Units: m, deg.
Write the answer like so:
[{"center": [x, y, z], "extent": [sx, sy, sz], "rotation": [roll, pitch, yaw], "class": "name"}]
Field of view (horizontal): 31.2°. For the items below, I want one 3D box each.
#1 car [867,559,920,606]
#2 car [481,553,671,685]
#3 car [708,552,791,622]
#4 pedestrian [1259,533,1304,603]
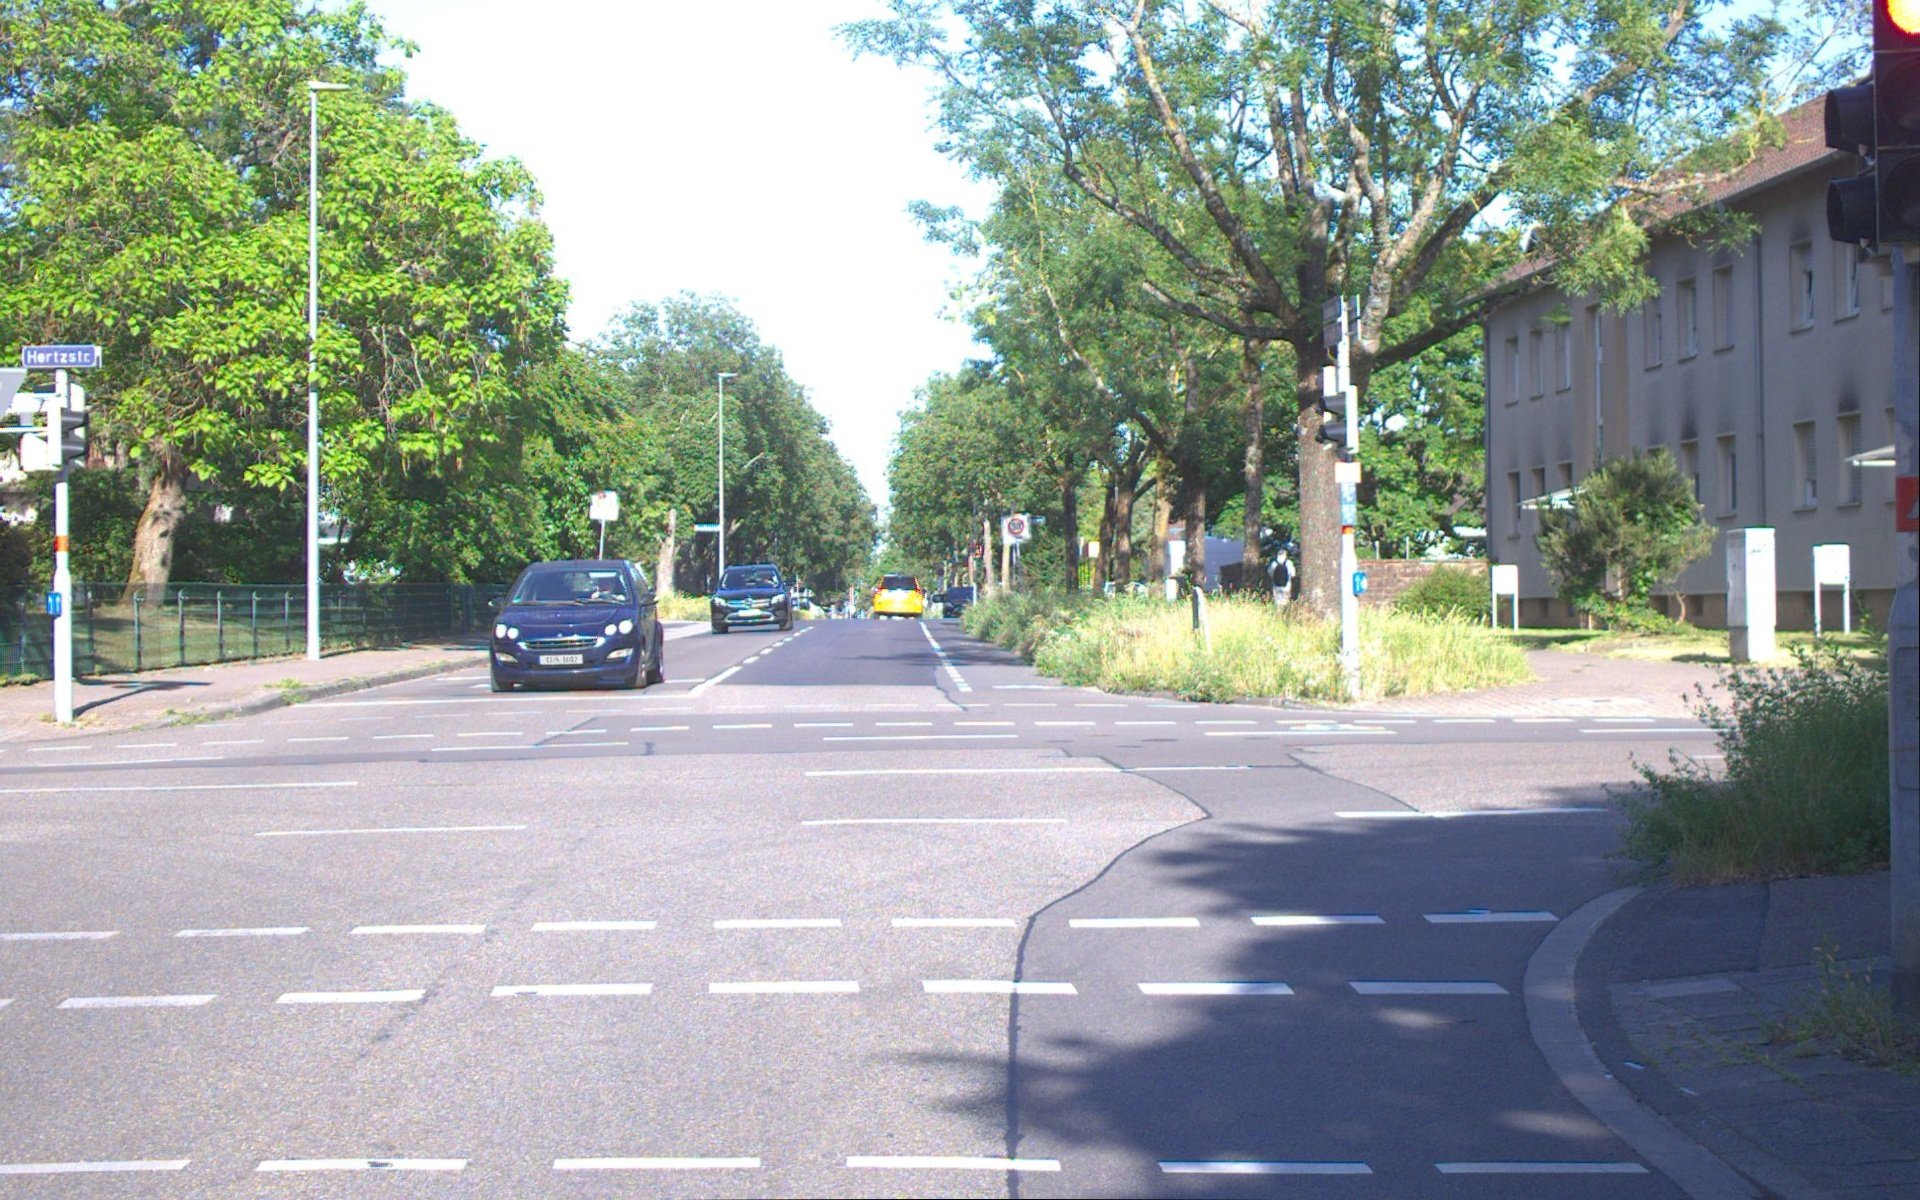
[{"center": [-2.255, -0.598, 117.769], "extent": [1.751, 1.577, 4.000], "rotation": [1, 0, 0], "class": "car"}, {"center": [-4.266, 0.177, 38.623], "extent": [1.711, 1.381, 3.471], "rotation": [0, 1, 0], "class": "car"}, {"center": [-5.046, -0.338, 82.778], "extent": [1.758, 1.619, 3.268], "rotation": [0, 1, 0], "class": "car"}, {"center": [7.072, -0.710, 75.687], "extent": [0.842, 1.488, 0.924], "rotation": [2, 1, -1], "class": "pedestrian"}]
